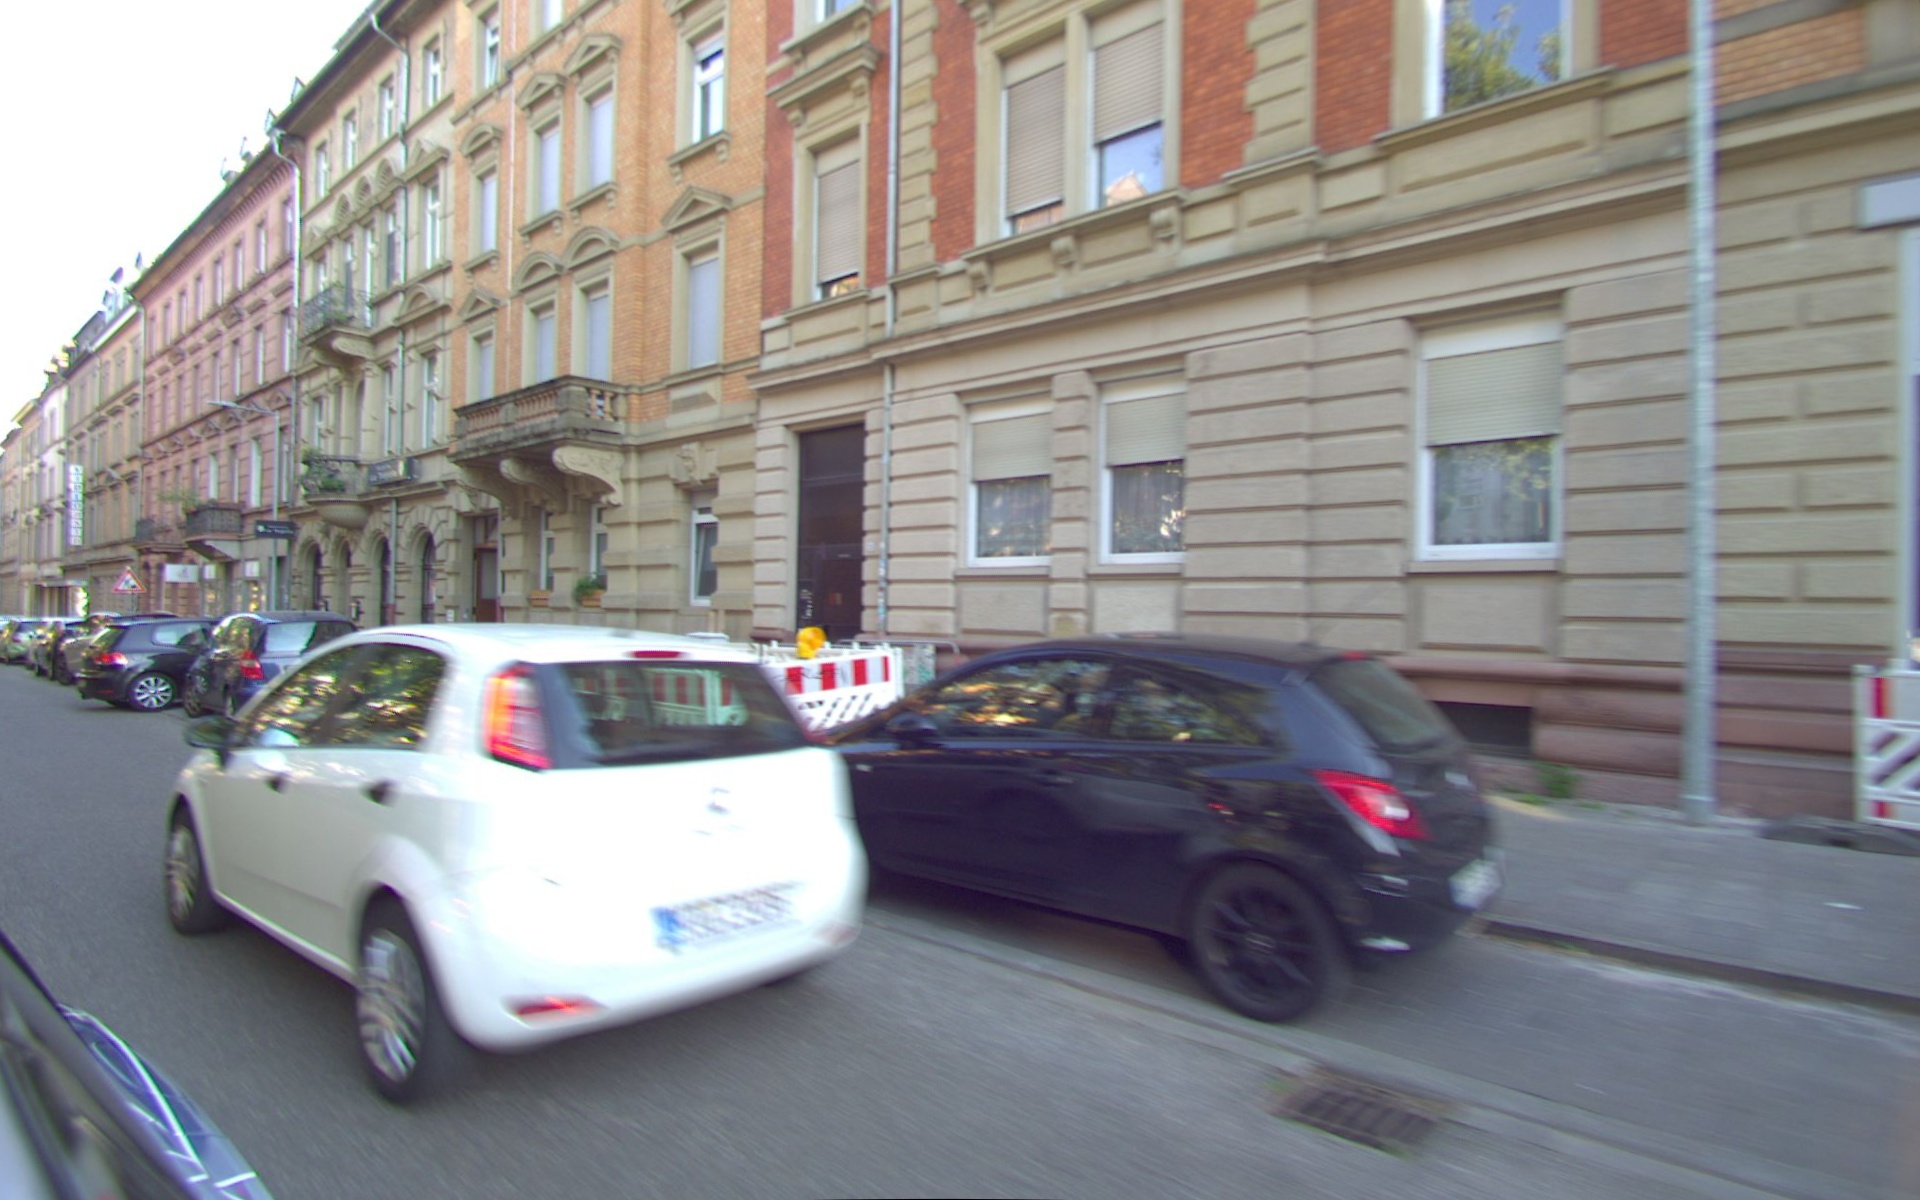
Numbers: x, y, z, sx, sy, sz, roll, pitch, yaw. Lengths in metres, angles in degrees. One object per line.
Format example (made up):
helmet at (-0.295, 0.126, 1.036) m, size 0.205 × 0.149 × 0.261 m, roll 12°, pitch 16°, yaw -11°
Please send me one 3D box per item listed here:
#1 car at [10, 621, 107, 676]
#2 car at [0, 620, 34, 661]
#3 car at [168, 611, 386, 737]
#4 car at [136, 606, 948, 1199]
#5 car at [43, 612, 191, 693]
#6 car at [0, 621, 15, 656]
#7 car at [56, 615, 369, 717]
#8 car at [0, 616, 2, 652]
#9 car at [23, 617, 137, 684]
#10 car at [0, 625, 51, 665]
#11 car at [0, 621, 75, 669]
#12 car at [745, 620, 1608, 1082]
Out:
car at (-25.719, 1.336, 28.838) m, size 3.998 × 1.484 × 1.565 m, roll -1°, pitch -2°, yaw 41°
car at (-36.931, 1.518, 38.700) m, size 4.422 × 1.488 × 1.802 m, roll -1°, pitch -1°, yaw 42°
car at (-9.976, 0.981, 14.689) m, size 3.894 × 1.579 × 1.723 m, roll -1°, pitch -2°, yaw 42°
car at (-2.108, 0.818, 4.470) m, size 3.998 × 1.521 × 1.730 m, roll -1°, pitch -2°, yaw 41°
car at (-18.619, 1.096, 22.298) m, size 4.043 × 1.586 × 1.632 m, roll -1°, pitch 1°, yaw 37°
car at (-41.619, 1.638, 42.963) m, size 4.312 × 1.436 × 1.802 m, roll -1°, pitch -1°, yaw 42°
car at (-12.703, 1.064, 17.434) m, size 1.822 × 1.541 × 3.952 m, roll -1°, pitch -2°, yaw 35°
car at (-45.035, 1.558, 46.011) m, size 4.312 × 1.612 × 1.802 m, roll -1°, pitch -1°, yaw 42°
car at (-22.126, 1.211, 25.400) m, size 3.998 × 1.484 × 1.630 m, roll -1°, pitch 1°, yaw 41°
car at (-33.289, 1.536, 35.459) m, size 4.100 × 1.333 × 1.687 m, roll -1°, pitch -2°, yaw 42°
car at (-29.774, 1.410, 32.376) m, size 3.958 × 1.450 × 1.687 m, roll -1°, pitch -2°, yaw 42°
car at (0.832, 0.844, 5.195) m, size 4.017 × 1.465 × 1.686 m, roll -1°, pitch -2°, yaw 40°
